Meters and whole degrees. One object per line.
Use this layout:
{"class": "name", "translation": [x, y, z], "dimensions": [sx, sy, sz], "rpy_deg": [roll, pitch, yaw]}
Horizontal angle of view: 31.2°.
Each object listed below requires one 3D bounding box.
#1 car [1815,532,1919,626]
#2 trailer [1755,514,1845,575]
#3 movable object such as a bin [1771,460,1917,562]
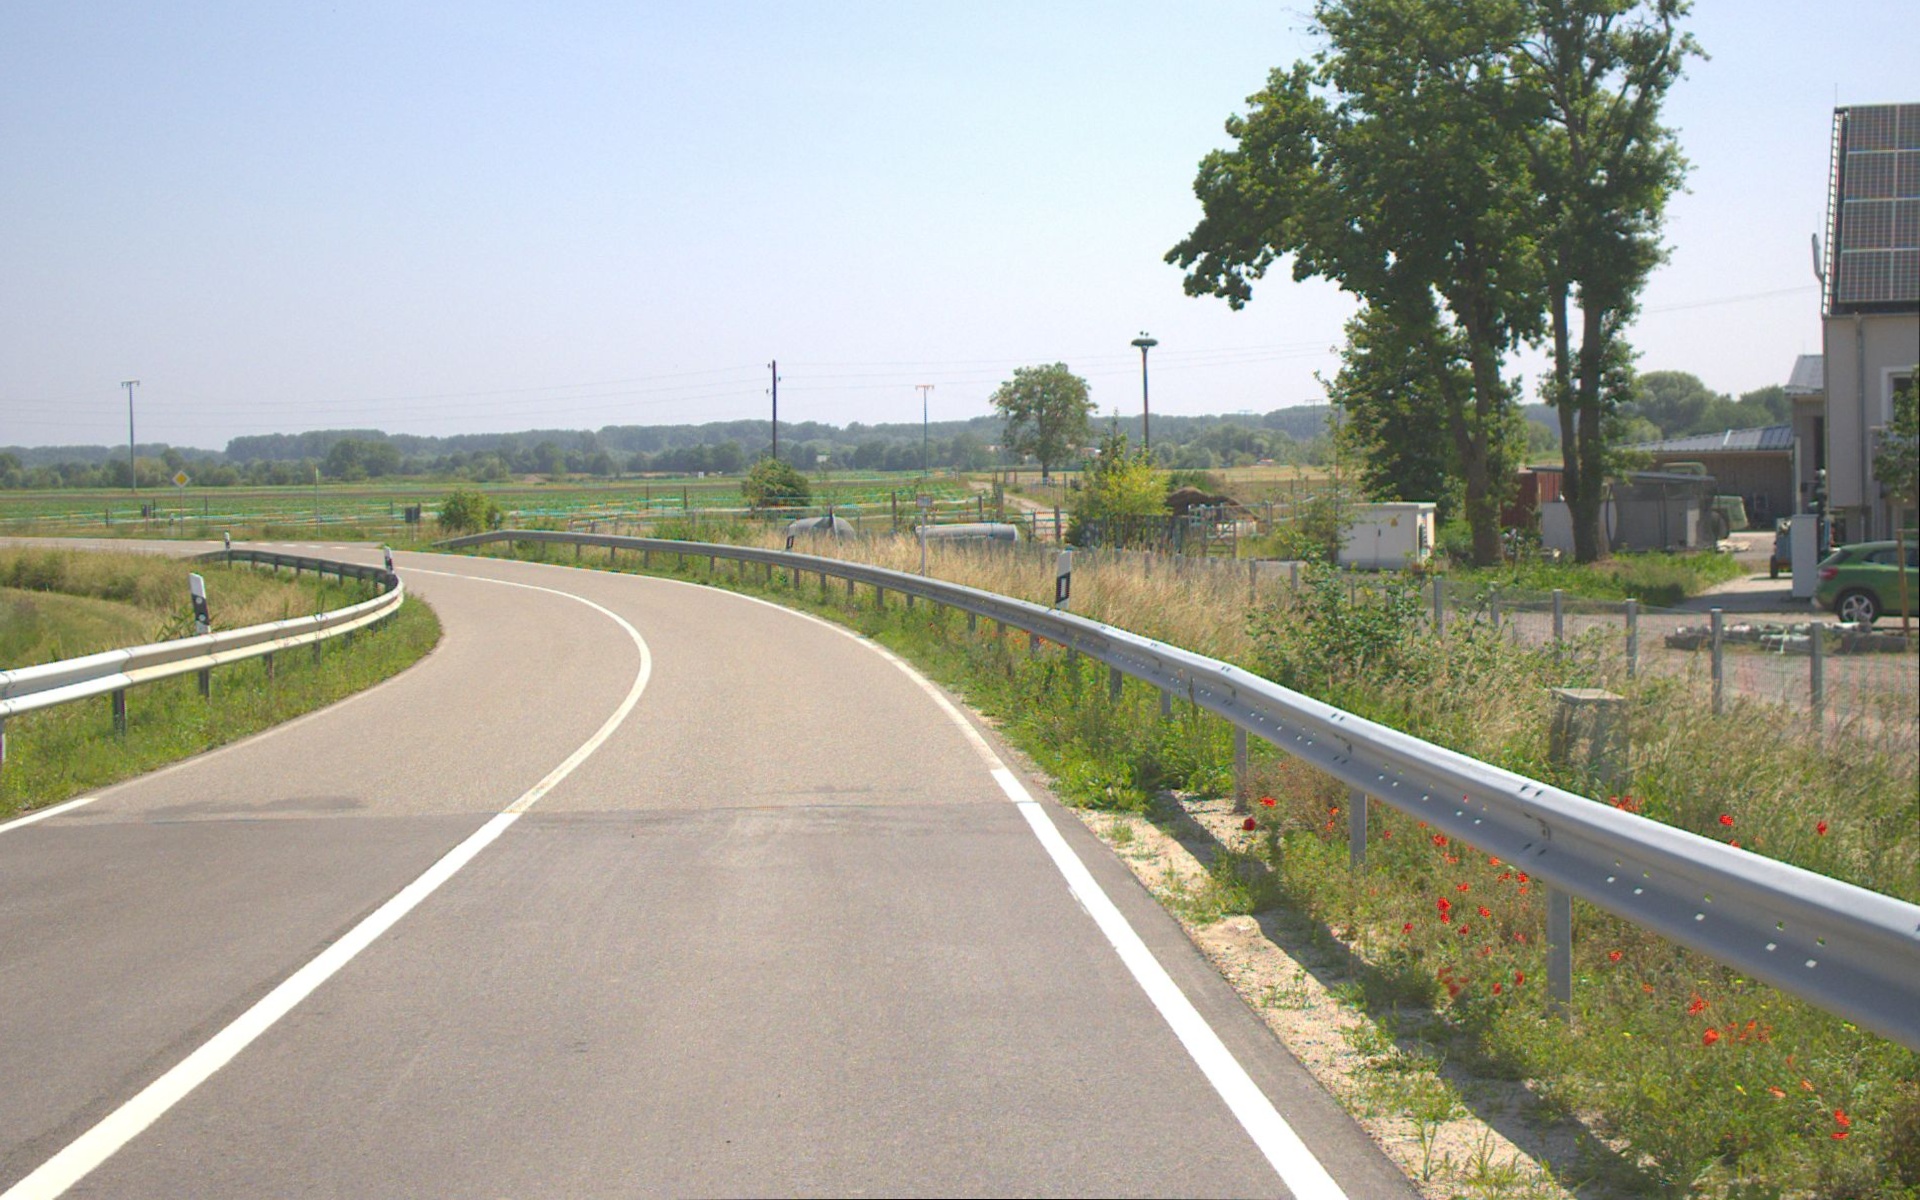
{"class": "car", "translation": [17.049, -0.339, 59.124], "dimensions": [4.363, 1.575, 1.932], "rpy_deg": [1, 1, 19]}
{"class": "trailer", "translation": [21.122, -1.377, 86.397], "dimensions": [1.712, 1.491, 3.137], "rpy_deg": [0, 0, 23]}
{"class": "movable object such as a bin", "translation": [25.024, -2.580, 97.599], "dimensions": [3.003, 2.760, 6.504], "rpy_deg": [1, 2, 5]}
